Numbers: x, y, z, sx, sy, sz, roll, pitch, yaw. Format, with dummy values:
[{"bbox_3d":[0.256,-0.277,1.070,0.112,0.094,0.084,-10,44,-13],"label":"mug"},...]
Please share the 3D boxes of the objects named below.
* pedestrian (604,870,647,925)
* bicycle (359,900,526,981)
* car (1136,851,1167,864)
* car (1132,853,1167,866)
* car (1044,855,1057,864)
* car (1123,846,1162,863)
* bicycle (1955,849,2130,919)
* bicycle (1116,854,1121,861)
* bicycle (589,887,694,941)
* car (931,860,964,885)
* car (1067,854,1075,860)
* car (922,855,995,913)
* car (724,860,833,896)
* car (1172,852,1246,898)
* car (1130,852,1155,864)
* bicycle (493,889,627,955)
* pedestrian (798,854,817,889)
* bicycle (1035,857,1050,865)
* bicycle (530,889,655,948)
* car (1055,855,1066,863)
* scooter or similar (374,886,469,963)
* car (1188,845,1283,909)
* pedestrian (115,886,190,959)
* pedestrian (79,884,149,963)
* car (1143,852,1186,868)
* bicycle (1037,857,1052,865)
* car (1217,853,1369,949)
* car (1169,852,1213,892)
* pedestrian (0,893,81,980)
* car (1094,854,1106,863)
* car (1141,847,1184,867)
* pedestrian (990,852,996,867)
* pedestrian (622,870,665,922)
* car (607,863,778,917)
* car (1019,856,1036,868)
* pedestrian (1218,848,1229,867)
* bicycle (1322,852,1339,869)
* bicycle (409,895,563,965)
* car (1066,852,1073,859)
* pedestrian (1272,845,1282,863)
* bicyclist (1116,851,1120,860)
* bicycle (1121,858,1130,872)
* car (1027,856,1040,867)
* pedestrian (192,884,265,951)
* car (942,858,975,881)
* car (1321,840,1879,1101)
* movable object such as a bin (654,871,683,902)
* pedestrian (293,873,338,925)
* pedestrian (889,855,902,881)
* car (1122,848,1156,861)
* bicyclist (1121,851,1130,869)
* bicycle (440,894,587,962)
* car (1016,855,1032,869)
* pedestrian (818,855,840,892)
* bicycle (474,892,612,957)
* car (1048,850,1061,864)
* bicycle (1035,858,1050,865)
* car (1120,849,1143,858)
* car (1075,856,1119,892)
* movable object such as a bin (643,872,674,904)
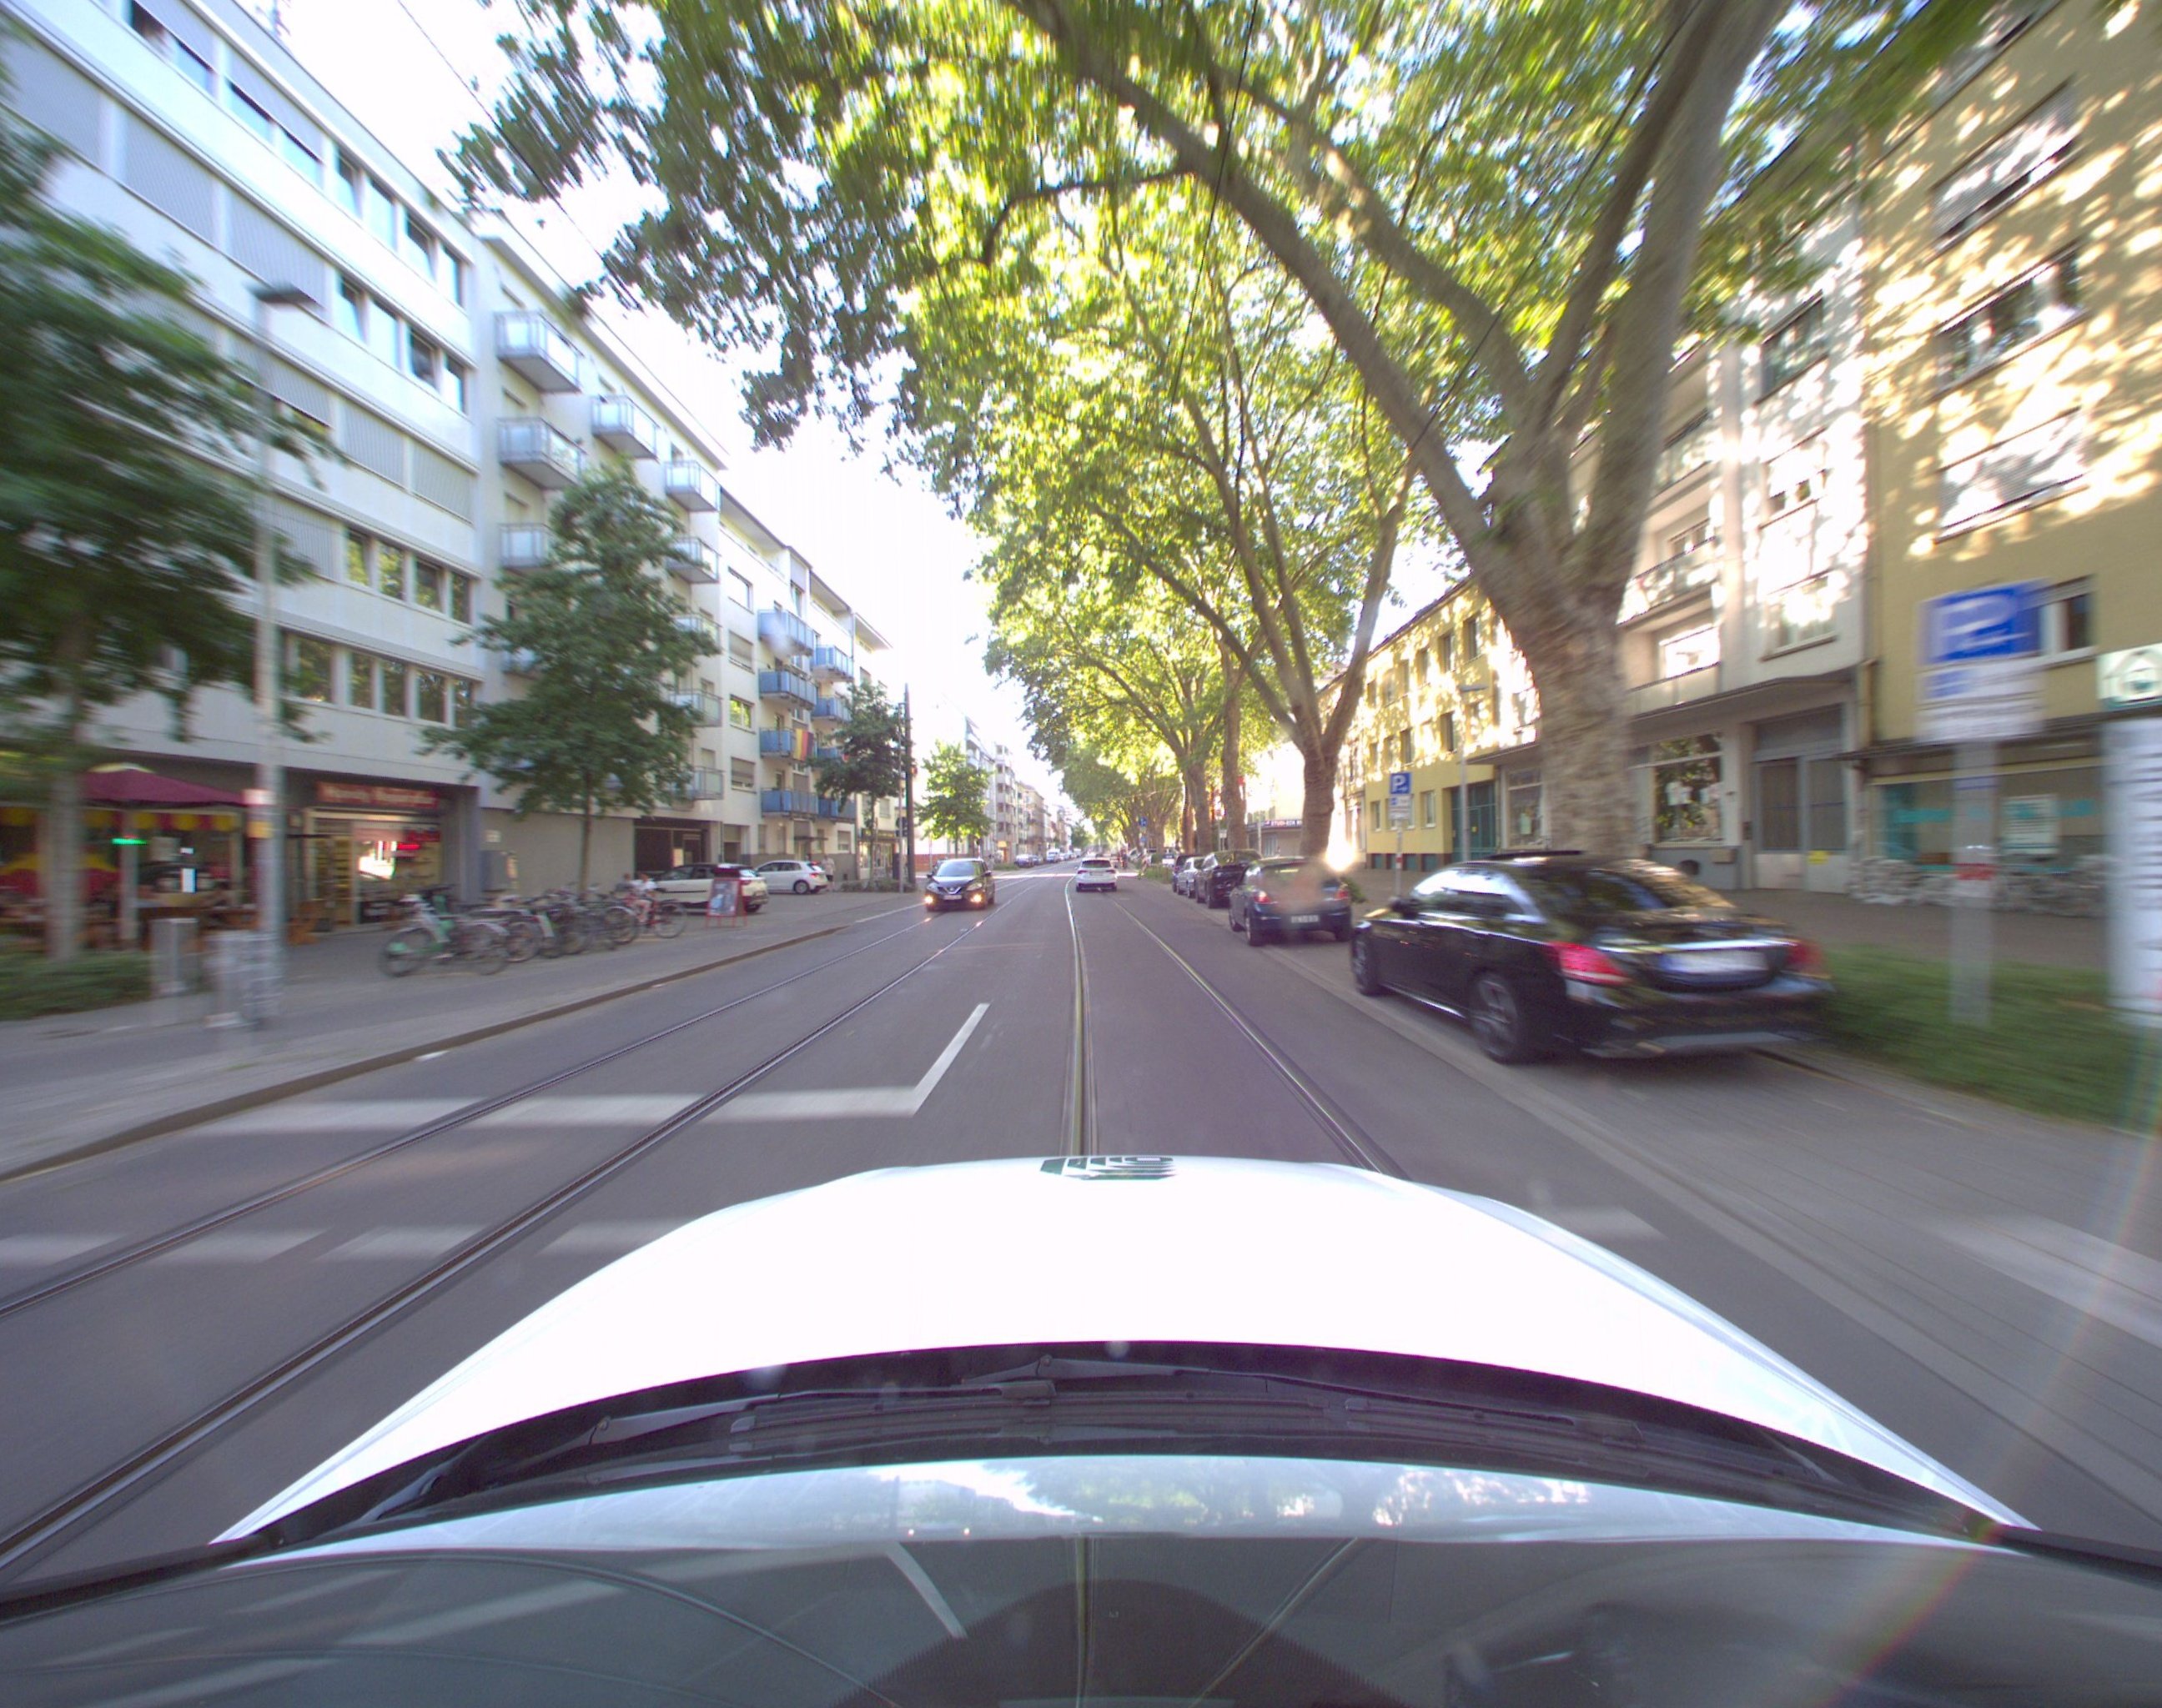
[{"bbox_3d":[-11.259,1.069,20.163,0.713,1.297,0.744,-2,0,-12],"label":"pedestrian"},{"bbox_3d":[-8.608,1.150,11.026,1.687,1.007,0.657,0,-1,-4],"label":"bicycle"},{"bbox_3d":[9.566,0.494,110.604,3.973,1.680,1.723,-1,0,0],"label":"car"},{"bbox_3d":[8.420,0.660,99.706,4.129,1.514,1.931,-1,0,0],"label":"car"},{"bbox_3d":[-5.516,1.011,145.687,1.986,1.530,4.002,-1,0,2],"label":"car"},{"bbox_3d":[10.207,0.098,135.473,6.111,2.635,2.529,-1,0,-1],"label":"car"},{"bbox_3d":[15.096,0.440,12.861,0.569,0.997,1.778,-3,0,-3],"label":"bicycle"},{"bbox_3d":[5.960,0.609,130.281,0.647,1.071,1.583,-2,0,0],"label":"bicycle"},{"bbox_3d":[-8.651,1.163,16.086,1.687,1.007,0.657,0,-1,-4],"label":"bicycle"},{"bbox_3d":[-8.394,1.116,51.571,1.710,1.464,3.993,2,0,-5],"label":"car"},{"bbox_3d":[-2.585,0.837,213.721,1.986,1.640,4.002,0,-1,2],"label":"car"},{"bbox_3d":[-3.663,0.847,24.995,1.867,1.590,4.141,1,0,-4],"label":"car"},{"bbox_3d":[-12.956,1.013,35.083,4.001,1.475,1.851,0,-1,-1],"label":"car"},{"bbox_3d":[4.518,0.740,29.410,1.812,1.436,4.599,-3,-1,-2],"label":"car"},{"bbox_3d":[9.300,0.554,123.230,3.618,1.666,1.824,-1,0,4],"label":"car"},{"bbox_3d":[-8.876,1.146,13.924,1.825,1.064,0.657,0,-1,-4],"label":"bicycle"},{"bbox_3d":[-13.584,0.854,40.482,0.661,1.691,0.749,-1,0,0],"label":"pedestrian"},{"bbox_3d":[-6.319,1.190,133.760,2.545,1.172,0.873,2,-2,-38],"label":"bicycle"},{"bbox_3d":[-8.815,1.159,14.744,1.825,1.007,0.657,0,-1,-4],"label":"bicycle"},{"bbox_3d":[-4.455,1.079,177.737,1.986,1.530,4.002,-1,0,2],"label":"car"},{"bbox_3d":[-10.493,1.110,12.976,1.076,1.176,0.498,0,-1,0],"label":"scooter or similar"},{"bbox_3d":[4.393,0.641,23.955,1.852,1.603,4.781,-3,-1,0],"label":"car"},{"bbox_3d":[-16.310,1.190,14.314,0.560,1.198,0.624,-2,0,1],"label":"pedestrian"},{"bbox_3d":[-15.340,1.087,12.934,0.514,1.198,0.559,-2,0,-27],"label":"pedestrian"},{"bbox_3d":[8.765,0.621,85.900,4.282,1.479,1.831,-1,0,0],"label":"car"},{"bbox_3d":[-6.256,1.198,138.327,2.520,1.172,0.718,1,-2,-5],"label":"bicycle"},{"bbox_3d":[3.674,0.735,14.878,1.856,1.437,4.230,-2,0,3],"label":"car"},{"bbox_3d":[4.533,0.737,33.950,1.557,1.519,2.913,-3,-1,4],"label":"car"},{"bbox_3d":[-15.451,1.198,12.069,0.604,1.198,0.685,-2,0,-33],"label":"pedestrian"},{"bbox_3d":[3.097,0.714,130.495,1.755,1.475,4.002,-2,0,2],"label":"car"},{"bbox_3d":[8.830,0.301,88.479,4.530,2.076,2.000,-1,0,-1],"label":"car"},{"bbox_3d":[-10.910,0.643,100.914,0.661,1.826,0.965,-1,0,0],"label":"pedestrian"},{"bbox_3d":[-11.488,1.081,21.409,0.713,1.297,0.908,-2,0,-12],"label":"pedestrian"},{"bbox_3d":[-11.106,1.013,23.471,3.997,1.475,1.853,0,-1,2],"label":"car"},{"bbox_3d":[-6.914,1.054,105.869,1.696,1.544,4.243,1,0,2],"label":"car"},{"bbox_3d":[14.341,0.321,82.053,0.764,1.866,1.188,-2,0,-2],"label":"pedestrian"},{"bbox_3d":[17.459,0.444,56.980,0.580,1.104,1.923,-3,0,1],"label":"bicycle"},{"bbox_3d":[-9.107,1.152,12.520,1.825,1.007,0.657,0,-1,-4],"label":"bicycle"},{"bbox_3d":[-3.681,0.487,258.885,1.986,2.013,4.002,-1,0,2],"label":"car"},{"bbox_3d":[17.740,0.020,73.611,0.743,1.644,0.666,-1,0,3],"label":"pedestrian"},{"bbox_3d":[5.945,0.258,130.296,0.647,1.344,0.934,-2,0,0],"label":"bicyclist"},{"bbox_3d":[3.716,0.895,67.589,0.679,1.071,1.782,-2,0,2],"label":"bicycle"},{"bbox_3d":[-6.761,1.077,116.685,1.648,1.437,3.836,-1,0,0],"label":"car"},{"bbox_3d":[-16.313,1.205,15.601,0.670,1.198,0.655,-2,0,0],"label":"pedestrian"},{"bbox_3d":[-8.444,1.068,56.333,1.709,1.464,4.373,2,0,-2],"label":"car"},{"bbox_3d":[3.741,0.676,7.217,1.759,1.462,5.012,-1,0,0],"label":"car"},{"bbox_3d":[-14.493,1.142,28.644,0.669,1.055,0.575,-2,0,3],"label":"movable object such as a bin"},{"bbox_3d":[-18.393,1.080,19.572,0.509,1.198,0.565,-2,0,7],"label":"pedestrian"},{"bbox_3d":[-11.966,0.910,52.559,0.661,1.691,0.749,-1,0,0],"label":"pedestrian"},{"bbox_3d":[10.954,0.054,154.089,6.111,2.282,2.529,-1,0,-1],"label":"car"},{"bbox_3d":[3.700,0.504,67.476,0.676,1.443,1.048,-2,0,2],"label":"bicyclist"},{"bbox_3d":[-9.002,1.160,12.959,1.825,1.007,0.657,0,-1,-4],"label":"bicycle"},{"bbox_3d":[-7.044,0.979,100.793,1.697,1.650,4.241,1,0,0],"label":"car"},{"bbox_3d":[-11.734,0.898,37.962,0.761,1.691,0.794,-1,0,0],"label":"pedestrian"},{"bbox_3d":[-8.948,1.163,13.605,1.825,1.007,0.657,0,-1,-4],"label":"bicycle"},{"bbox_3d":[-5.076,0.527,157.412,2.170,2.597,4.951,-1,0,2],"label":"car"},{"bbox_3d":[-6.346,1.190,134.548,2.520,1.172,0.718,1,-2,-5],"label":"bicycle"},{"bbox_3d":[13.267,-0.077,214.302,6.111,2.282,2.529,-1,0,-1],"label":"car"},{"bbox_3d":[0.662,0.814,35.017,1.756,1.384,4.000,-2,0,0],"label":"car"},{"bbox_3d":[-14.519,1.149,28.005,0.675,1.055,0.622,-2,0,3],"label":"movable object such as a bin"}]
